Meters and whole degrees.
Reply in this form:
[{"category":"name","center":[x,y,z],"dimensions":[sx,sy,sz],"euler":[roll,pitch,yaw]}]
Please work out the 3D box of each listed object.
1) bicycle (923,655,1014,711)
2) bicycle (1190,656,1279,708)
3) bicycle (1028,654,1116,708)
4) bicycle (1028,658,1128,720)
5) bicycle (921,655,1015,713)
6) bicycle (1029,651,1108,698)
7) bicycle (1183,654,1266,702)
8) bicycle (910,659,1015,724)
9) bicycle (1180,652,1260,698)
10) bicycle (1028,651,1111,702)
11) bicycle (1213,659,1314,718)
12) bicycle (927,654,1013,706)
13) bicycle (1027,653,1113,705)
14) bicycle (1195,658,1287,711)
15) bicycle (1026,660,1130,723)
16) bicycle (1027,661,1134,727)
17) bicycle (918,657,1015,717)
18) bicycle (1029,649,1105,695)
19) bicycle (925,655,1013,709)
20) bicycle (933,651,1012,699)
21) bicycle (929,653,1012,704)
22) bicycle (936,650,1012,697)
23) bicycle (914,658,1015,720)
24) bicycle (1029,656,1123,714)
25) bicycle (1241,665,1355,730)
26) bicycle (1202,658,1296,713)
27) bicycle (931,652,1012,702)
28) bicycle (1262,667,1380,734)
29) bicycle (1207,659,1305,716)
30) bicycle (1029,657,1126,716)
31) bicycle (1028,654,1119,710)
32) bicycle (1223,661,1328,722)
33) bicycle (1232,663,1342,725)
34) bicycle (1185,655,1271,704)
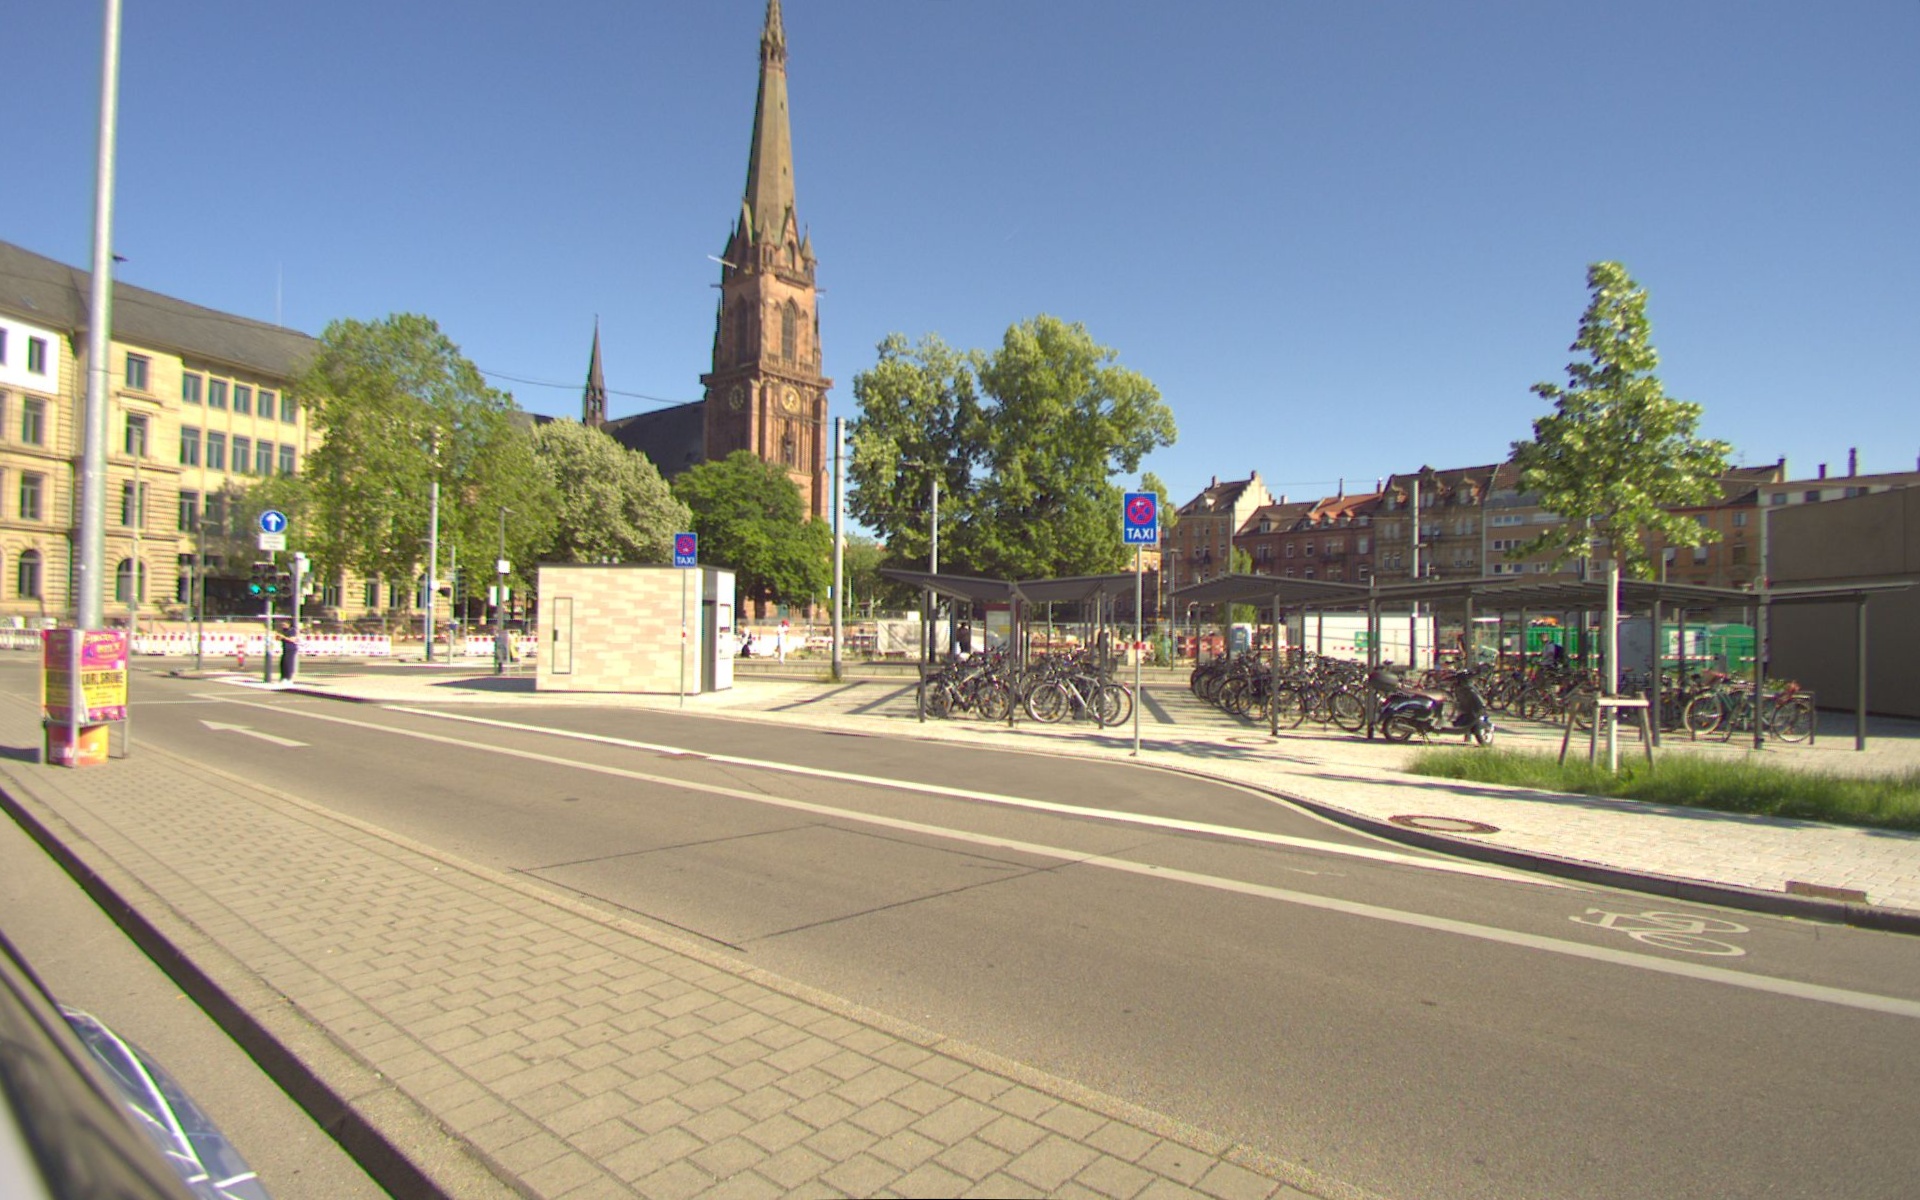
[{"category":"bicycle","center":[0.184,1.638,20.163],"dimensions":[1.765,1.046,0.567],"euler":[1,-3,4]},{"category":"bicycle","center":[5.928,1.770,21.903],"dimensions":[1.765,1.046,0.567],"euler":[1,-3,4]},{"category":"bicycle","center":[2.306,1.668,20.992],"dimensions":[1.765,1.046,0.567],"euler":[1,-3,4]},{"category":"bicycle","center":[2.142,1.621,18.568],"dimensions":[1.765,1.046,0.567],"euler":[1,-3,4]},{"category":"bicycle","center":[0.166,1.615,19.532],"dimensions":[1.765,1.046,0.567],"euler":[1,-3,4]},{"category":"bicycle","center":[2.515,1.724,23.556],"dimensions":[1.765,1.046,0.567],"euler":[1,-3,4]},{"category":"bicycle","center":[6.131,1.793,23.497],"dimensions":[1.765,1.046,0.567],"euler":[1,-3,4]},{"category":"bicycle","center":[0.057,1.565,17.438],"dimensions":[1.765,1.046,0.567],"euler":[1,-3,4]},{"category":"bicycle","center":[6.230,1.791,24.262],"dimensions":[1.765,1.046,0.567],"euler":[1,-3,4]},{"category":"bicycle","center":[2.397,1.672,22.231],"dimensions":[1.765,1.046,0.567],"euler":[1,-3,4]},{"category":"bicycle","center":[5.811,1.691,19.423],"dimensions":[1.765,1.046,0.567],"euler":[1,-3,4]},{"category":"bicycle","center":[0.218,1.684,21.395],"dimensions":[1.765,1.046,0.567],"euler":[1,-3,4]},{"category":"bicycle","center":[2.334,1.673,21.631],"dimensions":[1.765,1.046,0.567],"euler":[1,-3,4]},{"category":"bicycle","center":[5.909,1.767,21.308],"dimensions":[1.765,1.046,0.567],"euler":[1,-3,4]},{"category":"bicycle","center":[2.075,1.606,17.927],"dimensions":[1.765,1.046,0.567],"euler":[1,-3,4]},{"category":"bicycle","center":[2.045,1.600,17.277],"dimensions":[1.765,1.046,0.567],"euler":[1,-3,4]},{"category":"bicycle","center":[0.128,1.602,18.844],"dimensions":[1.765,1.046,0.567],"euler":[1,-3,4]},{"category":"bicycle","center":[2.540,1.717,24.183],"dimensions":[1.765,1.046,0.567],"euler":[1,-3,4]},{"category":"bicycle","center":[0.190,1.670,20.779],"dimensions":[1.765,1.046,0.567],"euler":[1,-3,4]},{"category":"bicycle","center":[0.294,1.719,23.258],"dimensions":[1.765,1.046,0.567],"euler":[1,-3,4]},{"category":"bicycle","center":[0.239,1.698,22.060],"dimensions":[1.765,1.046,0.567],"euler":[1,-3,4]},{"category":"bicycle","center":[0.340,1.729,23.849],"dimensions":[1.765,1.046,0.567],"euler":[1,-3,4]},{"category":"bicycle","center":[0.093,1.580,18.089],"dimensions":[1.765,1.046,0.567],"euler":[1,-3,4]},{"category":"bicycle","center":[2.255,1.653,19.776],"dimensions":[1.765,1.046,0.567],"euler":[1,-3,4]},{"category":"bicycle","center":[5.842,1.674,17.548],"dimensions":[1.765,1.046,0.567],"euler":[1,-3,4]},{"category":"bicycle","center":[5.902,1.746,20.710],"dimensions":[1.765,1.046,0.567],"euler":[1,-3,4]},{"category":"bicycle","center":[0.262,1.707,22.656],"dimensions":[1.765,1.046,0.567],"euler":[1,-3,4]},{"category":"bicycle","center":[6.027,1.673,16.951],"dimensions":[1.765,1.046,0.567],"euler":[1,-3,4]},{"category":"bicycle","center":[5.863,1.728,20.095],"dimensions":[1.765,1.046,0.567],"euler":[1,-3,4]},{"category":"bicycle","center":[2.206,1.634,19.177],"dimensions":[1.765,1.046,0.567],"euler":[1,-3,4]},{"category":"bicycle","center":[2.274,1.641,20.392],"dimensions":[1.765,1.046,0.567],"euler":[1,-3,4]},{"category":"bicycle","center":[5.845,1.692,18.793],"dimensions":[1.765,1.046,0.567],"euler":[1,-3,4]},{"category":"bicycle","center":[5.842,1.675,18.134],"dimensions":[1.765,1.046,0.567],"euler":[1,-3,4]},{"category":"bicycle","center":[6.022,1.776,22.773],"dimensions":[1.765,1.046,0.567],"euler":[1,-3,4]}]
